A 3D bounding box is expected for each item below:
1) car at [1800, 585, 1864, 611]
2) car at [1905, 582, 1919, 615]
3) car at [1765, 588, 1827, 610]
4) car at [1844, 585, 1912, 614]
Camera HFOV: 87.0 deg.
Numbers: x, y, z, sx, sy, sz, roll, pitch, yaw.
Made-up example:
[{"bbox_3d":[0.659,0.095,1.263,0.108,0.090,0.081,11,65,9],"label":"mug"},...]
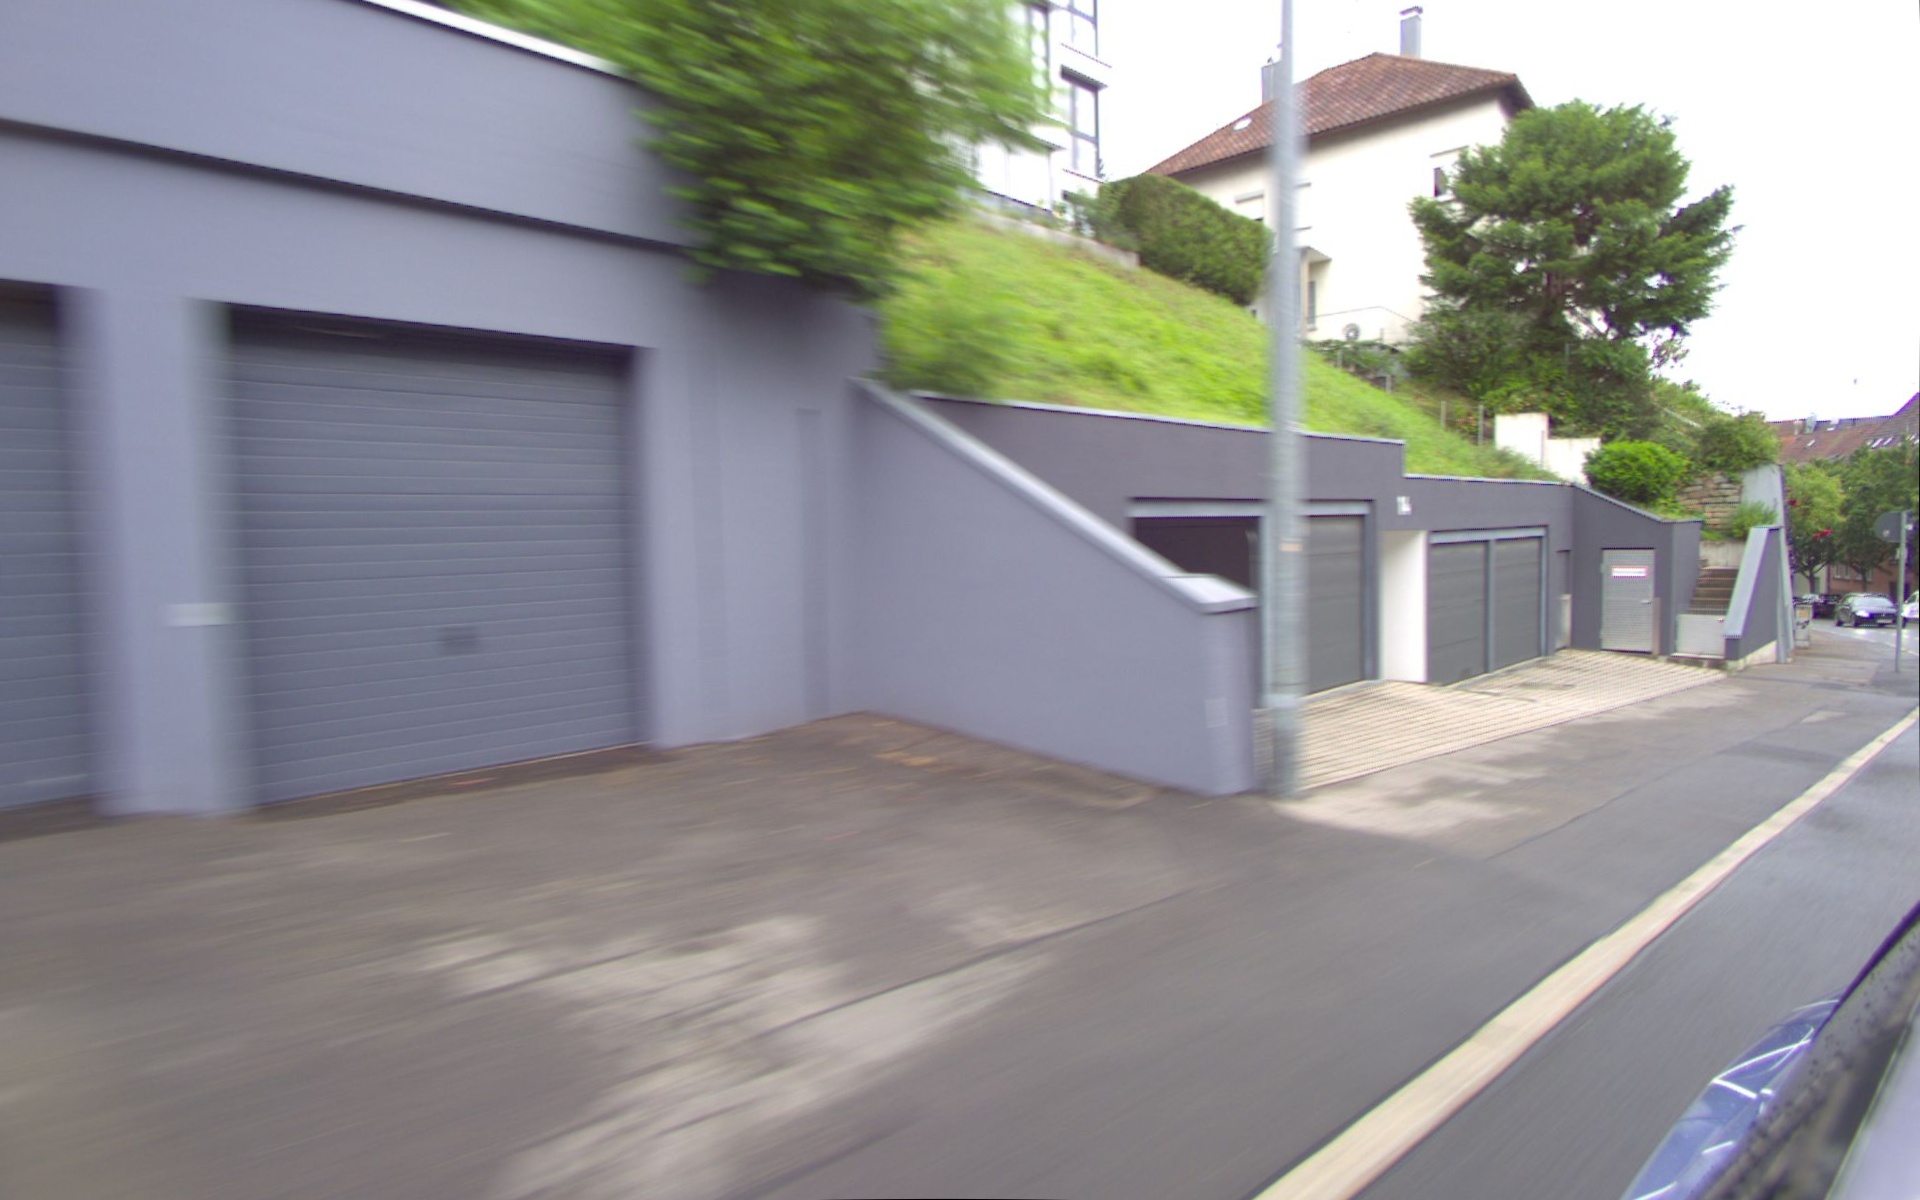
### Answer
[{"bbox_3d":[57.248,-0.137,66.563,1.771,1.662,4.448,-1,0,21],"label":"car"},{"bbox_3d":[51.793,-0.080,53.147,1.841,1.799,4.443,-1,0,26],"label":"car"},{"bbox_3d":[59.141,-0.091,71.676,1.768,1.512,4.340,-1,0,16],"label":"car"},{"bbox_3d":[55.251,-0.039,61.013,1.734,1.711,4.561,-1,0,25],"label":"car"}]
